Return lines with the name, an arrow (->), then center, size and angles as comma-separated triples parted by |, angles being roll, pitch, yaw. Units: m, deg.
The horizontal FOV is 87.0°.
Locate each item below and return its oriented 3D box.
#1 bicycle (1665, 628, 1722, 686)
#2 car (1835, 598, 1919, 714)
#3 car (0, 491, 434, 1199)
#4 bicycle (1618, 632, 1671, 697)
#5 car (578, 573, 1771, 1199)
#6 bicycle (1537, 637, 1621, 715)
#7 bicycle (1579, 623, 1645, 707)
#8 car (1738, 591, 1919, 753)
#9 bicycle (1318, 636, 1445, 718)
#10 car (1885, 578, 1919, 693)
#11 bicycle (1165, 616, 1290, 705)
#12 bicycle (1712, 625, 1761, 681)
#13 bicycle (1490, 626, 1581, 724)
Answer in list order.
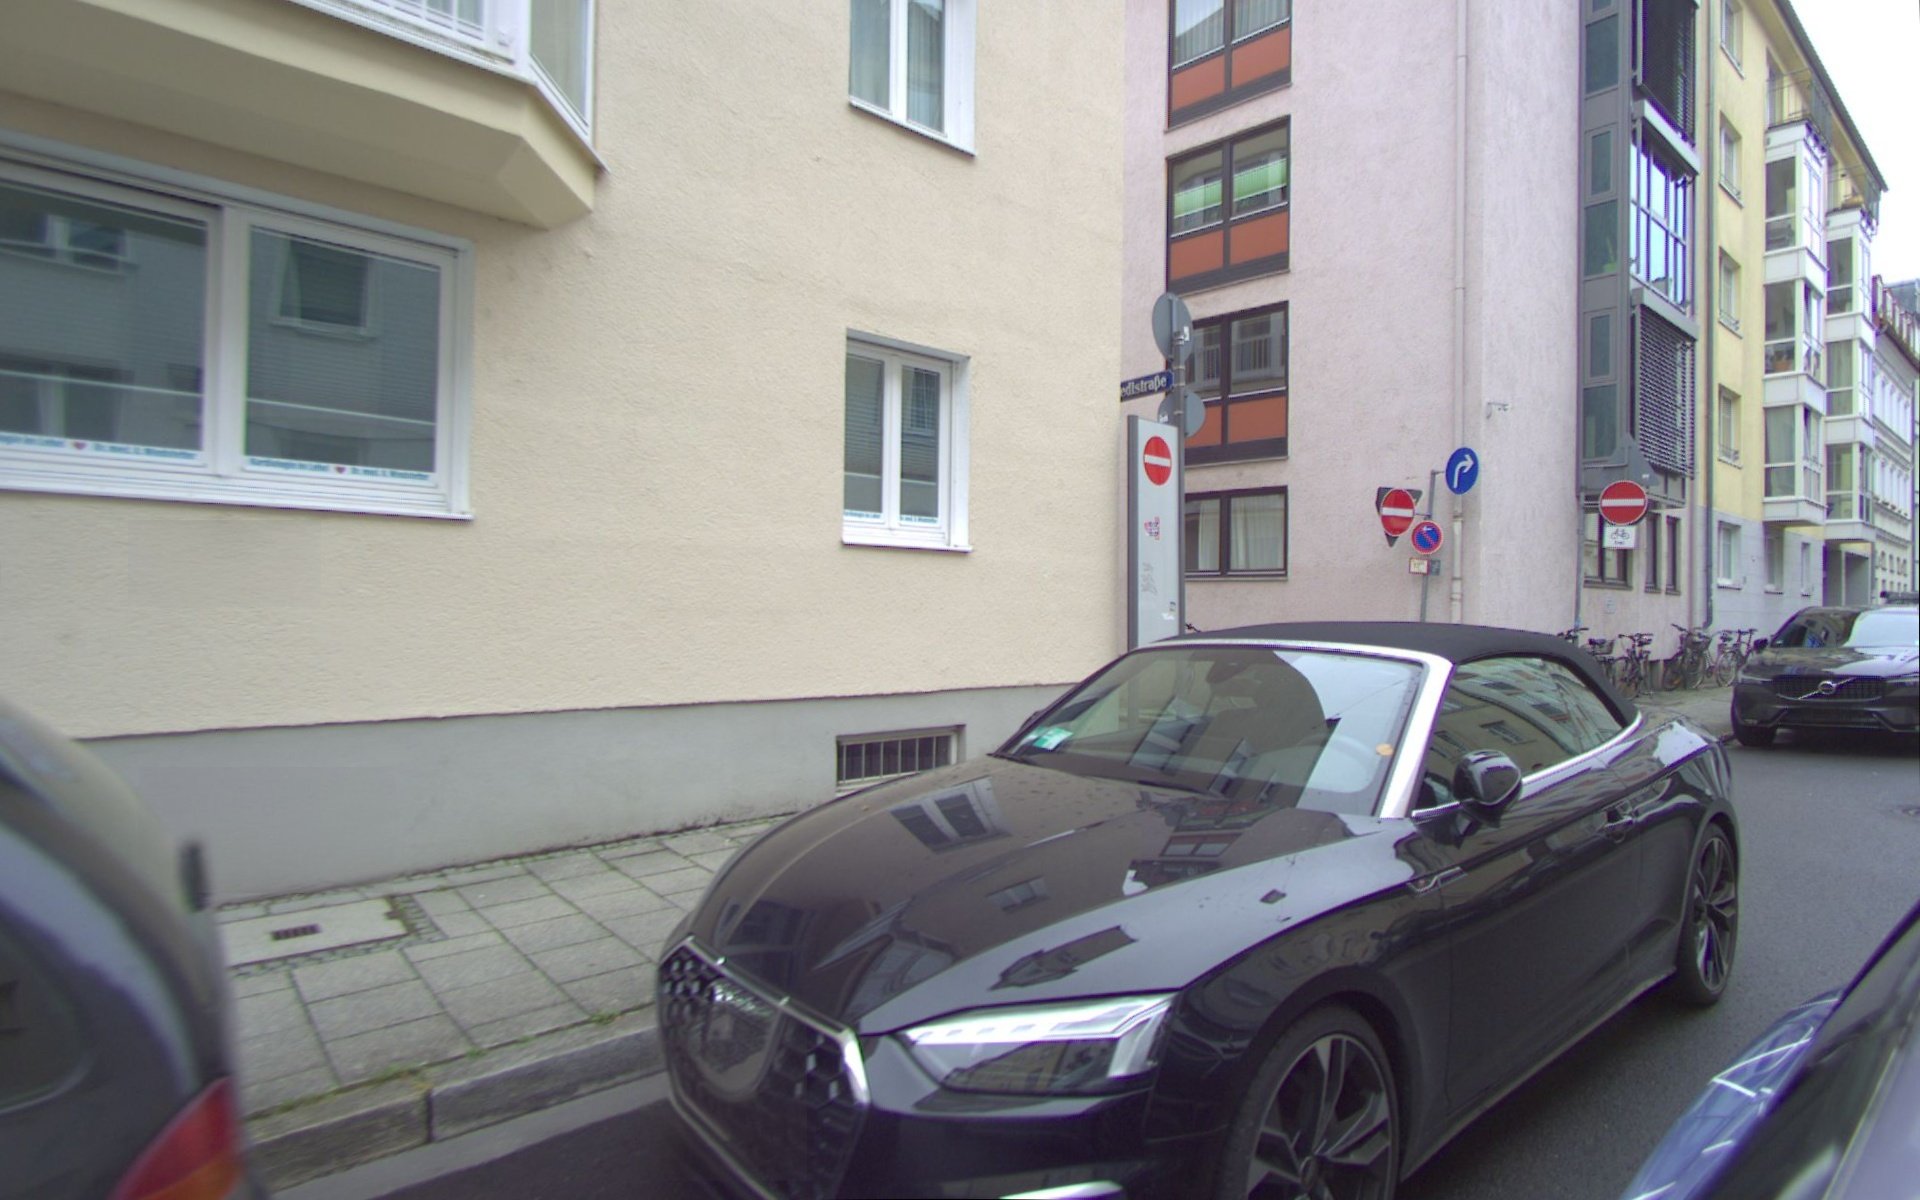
bicycle -> 12.802, 0.980, 17.647 | 1.548, 0.959, 0.442 | 1, -1, -40
car -> 15.248, 0.805, 15.784 | 4.248, 1.642, 1.835 | 0, -1, -41
car -> -2.764, 0.664, 0.190 | 4.455, 1.490, 1.718 | 0, -1, -43
bicycle -> 10.625, 0.983, 15.705 | 1.247, 0.959, 0.357 | 1, -1, -40
car -> 1.168, 0.691, 3.528 | 4.334, 1.424, 1.835 | 0, -1, -41
bicycle -> 8.212, 0.983, 13.408 | 1.333, 0.959, 0.551 | 1, -1, -40
bicycle -> 9.311, 0.897, 14.429 | 1.515, 1.136, 0.357 | 1, -1, -40
car -> 11.012, 0.745, 12.131 | 4.334, 1.642, 1.835 | 0, -1, -41
bicycle -> 5.493, 0.980, 13.232 | 0.543, 0.959, 1.449 | 1, -1, -44
car -> 19.210, 0.602, 19.206 | 5.018, 2.039, 1.875 | 0, -1, -41
bicycle -> 3.872, 0.849, 14.746 | 0.543, 1.194, 1.732 | 1, -1, -44
bicycle -> 14.469, 0.973, 18.843 | 1.420, 0.988, 0.422 | 1, -1, -40
bicycle -> 7.169, 0.901, 12.593 | 1.333, 1.140, 0.551 | 1, -1, -40
